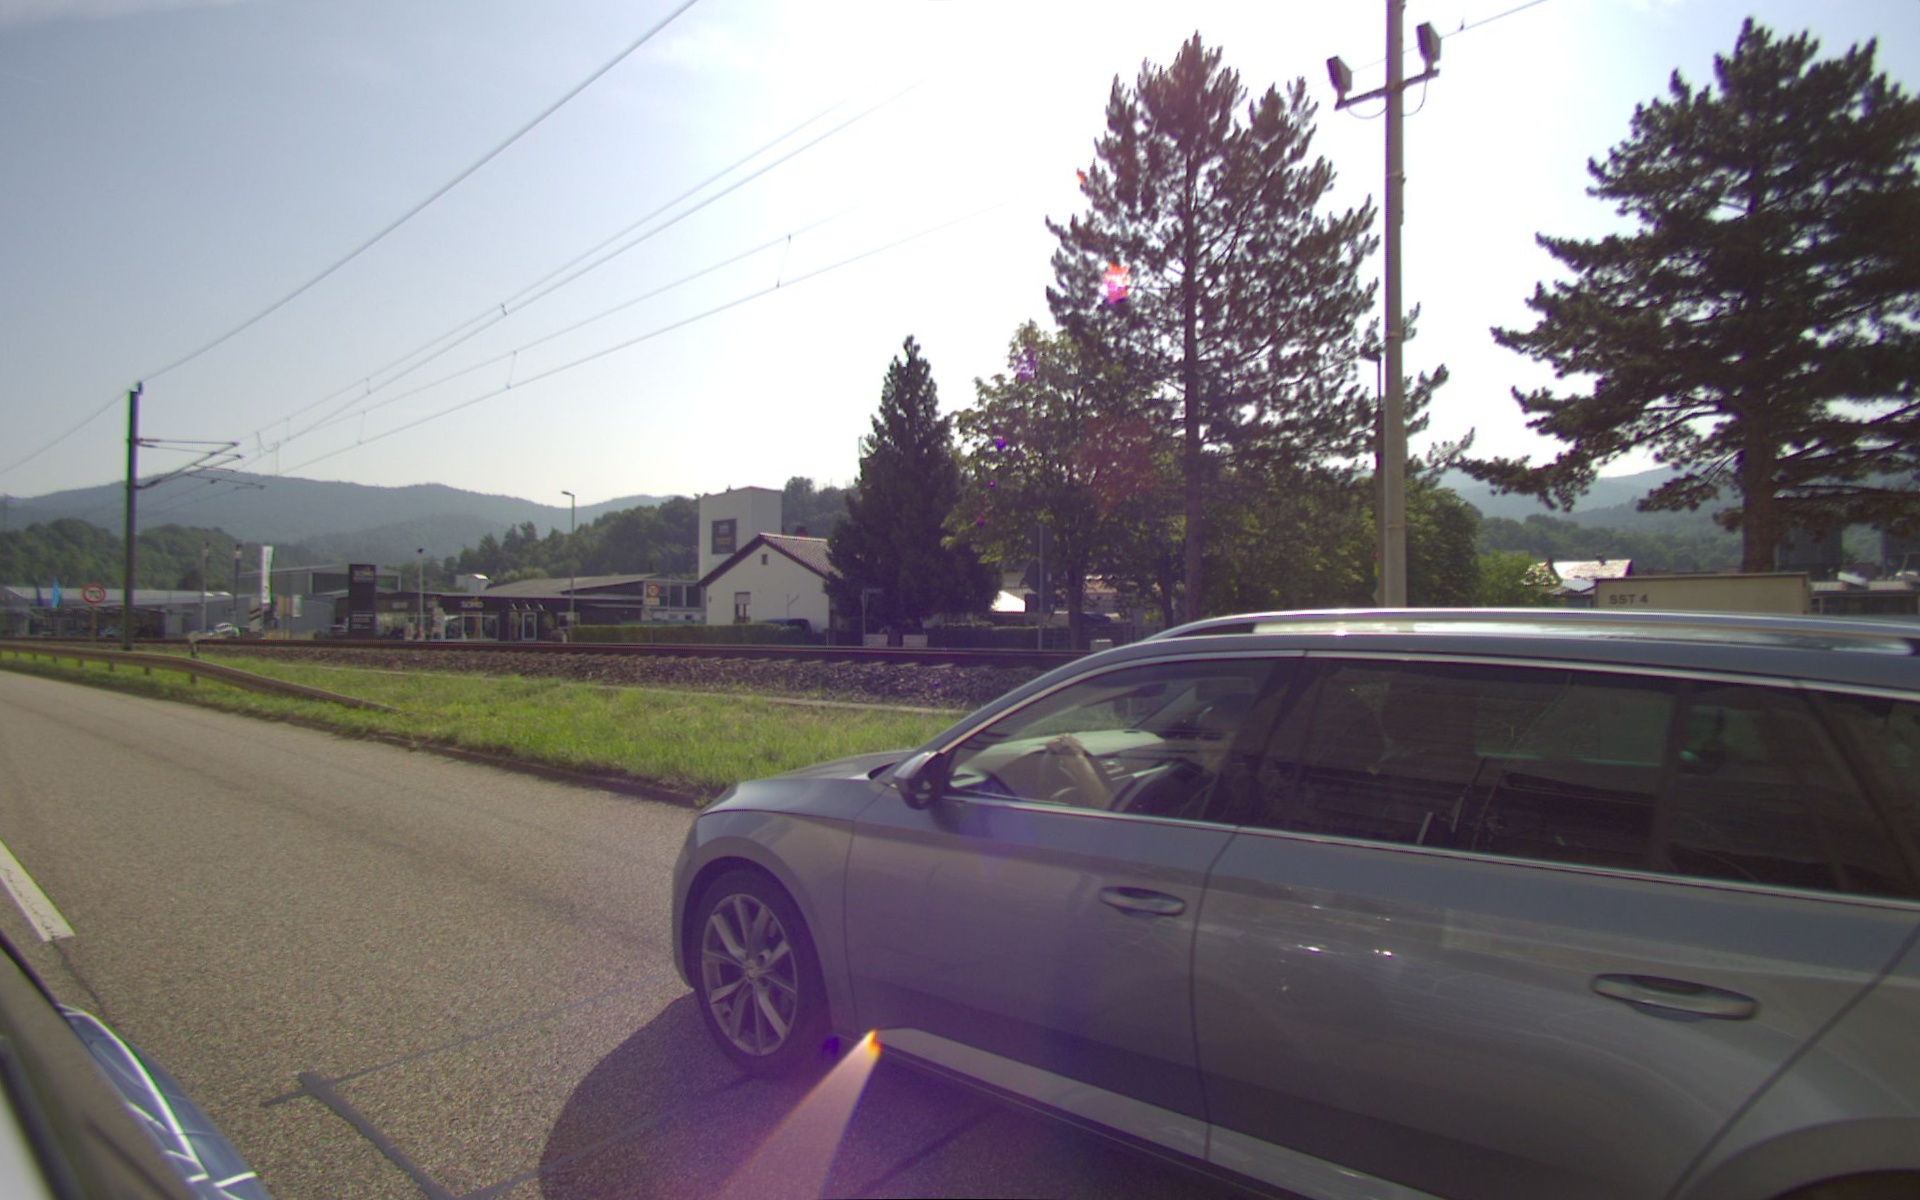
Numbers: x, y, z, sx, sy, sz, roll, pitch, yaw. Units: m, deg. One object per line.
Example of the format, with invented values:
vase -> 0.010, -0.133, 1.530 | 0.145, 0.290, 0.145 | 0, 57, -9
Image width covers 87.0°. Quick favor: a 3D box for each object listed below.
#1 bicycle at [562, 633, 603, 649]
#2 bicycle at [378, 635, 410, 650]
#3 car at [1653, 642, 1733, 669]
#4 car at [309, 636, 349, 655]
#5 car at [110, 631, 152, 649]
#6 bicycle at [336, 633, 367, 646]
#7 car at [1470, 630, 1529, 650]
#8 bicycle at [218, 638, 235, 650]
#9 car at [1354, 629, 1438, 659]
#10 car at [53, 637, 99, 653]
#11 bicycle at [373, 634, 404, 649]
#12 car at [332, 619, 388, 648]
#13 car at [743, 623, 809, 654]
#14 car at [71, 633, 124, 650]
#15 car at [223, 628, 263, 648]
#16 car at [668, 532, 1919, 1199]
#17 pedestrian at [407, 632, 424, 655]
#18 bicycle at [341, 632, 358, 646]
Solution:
bicycle -> -32.211, 3.482, 86.378 | 0.987, 1.298, 3.407 | -1, 0, 33
bicycle -> -45.169, 3.389, 80.744 | 0.726, 1.139, 2.154 | -1, -2, 27
car -> 46.658, 3.494, 64.463 | 3.801, 1.655, 1.686 | 0, -2, 3
car -> -60.153, 4.328, 96.474 | 3.990, 1.676, 1.852 | 0, -1, 35
car -> -86.897, 4.161, 106.113 | 1.636, 1.634, 4.041 | -2, 1, -12
bicycle -> -52.071, 3.376, 86.633 | 0.729, 1.139, 2.147 | -1, -2, 36
car -> 40.869, 3.002, 76.672 | 3.843, 1.492, 1.477 | -1, -2, 35
bicycle -> -55.195, 3.306, 76.187 | 1.707, 0.930, 0.540 | -2, -2, 36
car -> 23.632, 2.351, 54.948 | 3.987, 1.560, 1.666 | -1, -2, 32
car -> -102.648, 5.174, 117.579 | 1.819, 1.539, 4.276 | -2, 1, -5
bicycle -> -46.825, 3.386, 82.911 | 0.726, 1.139, 2.154 | -1, -2, 27
car -> -58.933, 3.295, 99.389 | 6.146, 2.653, 2.352 | 1, -1, 35
car -> -8.377, 1.752, 46.093 | 2.890, 1.362, 1.378 | -1, -2, 37
car -> -90.974, 4.345, 106.771 | 1.659, 1.539, 3.924 | -1, 1, 34
car -> -64.687, 3.439, 91.276 | 4.359, 1.701, 1.506 | -1, 0, 34
car -> 1.254, 0.654, 2.574 | 4.293, 1.416, 1.750 | -2, -3, 40
pedestrian -> -31.795, 2.530, 59.085 | 0.672, 1.342, 0.569 | -1, -2, 32
bicycle -> -50.594, 3.237, 83.861 | 0.717, 1.139, 2.329 | 1, -2, -19
